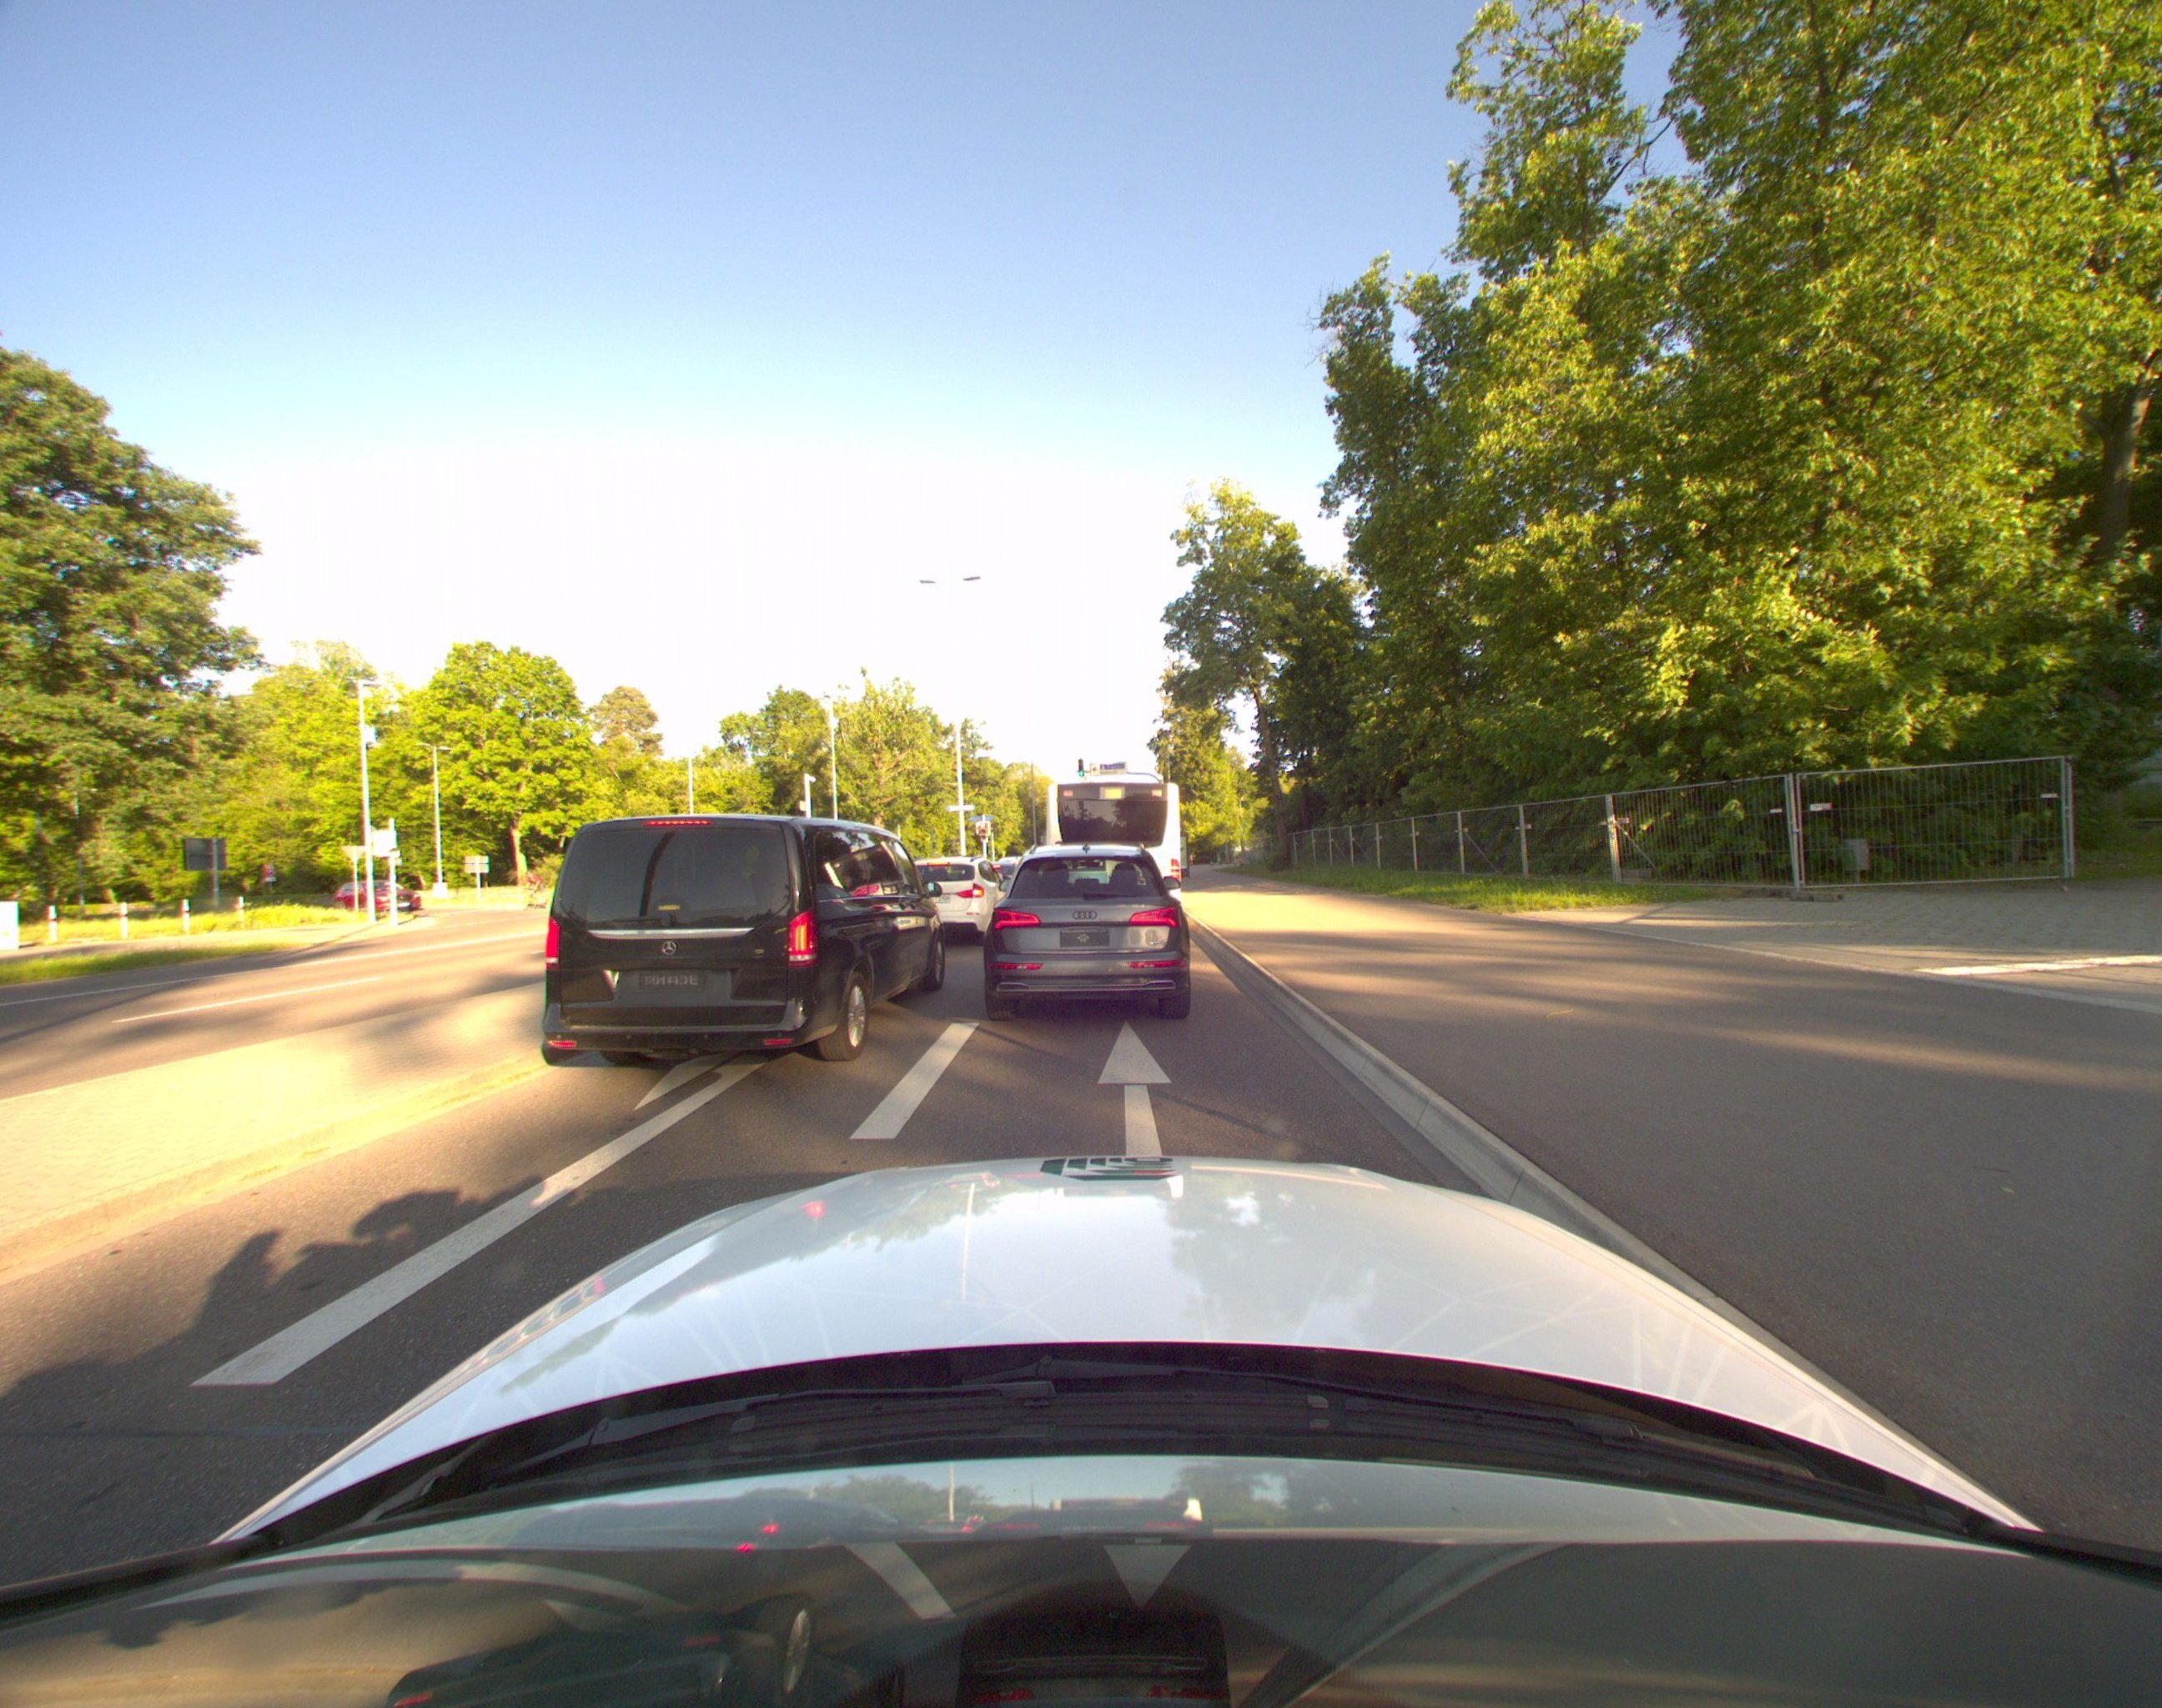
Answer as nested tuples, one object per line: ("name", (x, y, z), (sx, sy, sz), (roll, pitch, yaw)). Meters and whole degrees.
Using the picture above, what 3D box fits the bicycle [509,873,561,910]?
("bicycle", (-23.529, 1.593, 35.153), (0.747, 1.551, 2.024), (0, -1, 5))

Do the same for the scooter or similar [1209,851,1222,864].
("scooter or similar", (12.857, 0.328, 77.827), (1.175, 1.174, 0.661), (0, 0, 13))

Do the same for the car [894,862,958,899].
("car", (-6.167, 1.013, 32.729), (1.593, 1.396, 3.847), (0, -1, 3))

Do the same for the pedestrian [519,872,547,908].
("pedestrian", (-23.540, 1.547, 34.983), (0.736, 1.544, 0.674), (0, -1, 4))

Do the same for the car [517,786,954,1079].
("car", (-2.584, 0.517, 7.628), (1.900, 1.856, 4.874), (0, 0, 1))

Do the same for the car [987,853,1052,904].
("car", (-2.039, 0.777, 27.933), (1.801, 1.572, 4.002), (0, 0, 2))

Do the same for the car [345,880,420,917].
("car", (-33.943, 2.102, 39.560), (3.948, 1.618, 2.013), (-1, -1, 38))

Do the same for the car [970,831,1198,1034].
("car", (0.087, 0.632, 8.716), (1.861, 1.663, 4.002), (0, 0, 2))

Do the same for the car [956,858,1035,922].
("car", (-2.148, 0.855, 21.484), (1.780, 1.444, 4.274), (0, 1, -2))

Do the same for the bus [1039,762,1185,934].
("bus", (0.727, -0.141, 17.928), (2.667, 3.142, 5.887), (0, 0, 3))

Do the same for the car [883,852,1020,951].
("car", (-2.253, 0.768, 15.320), (1.712, 1.581, 4.436), (0, 0, 2))
